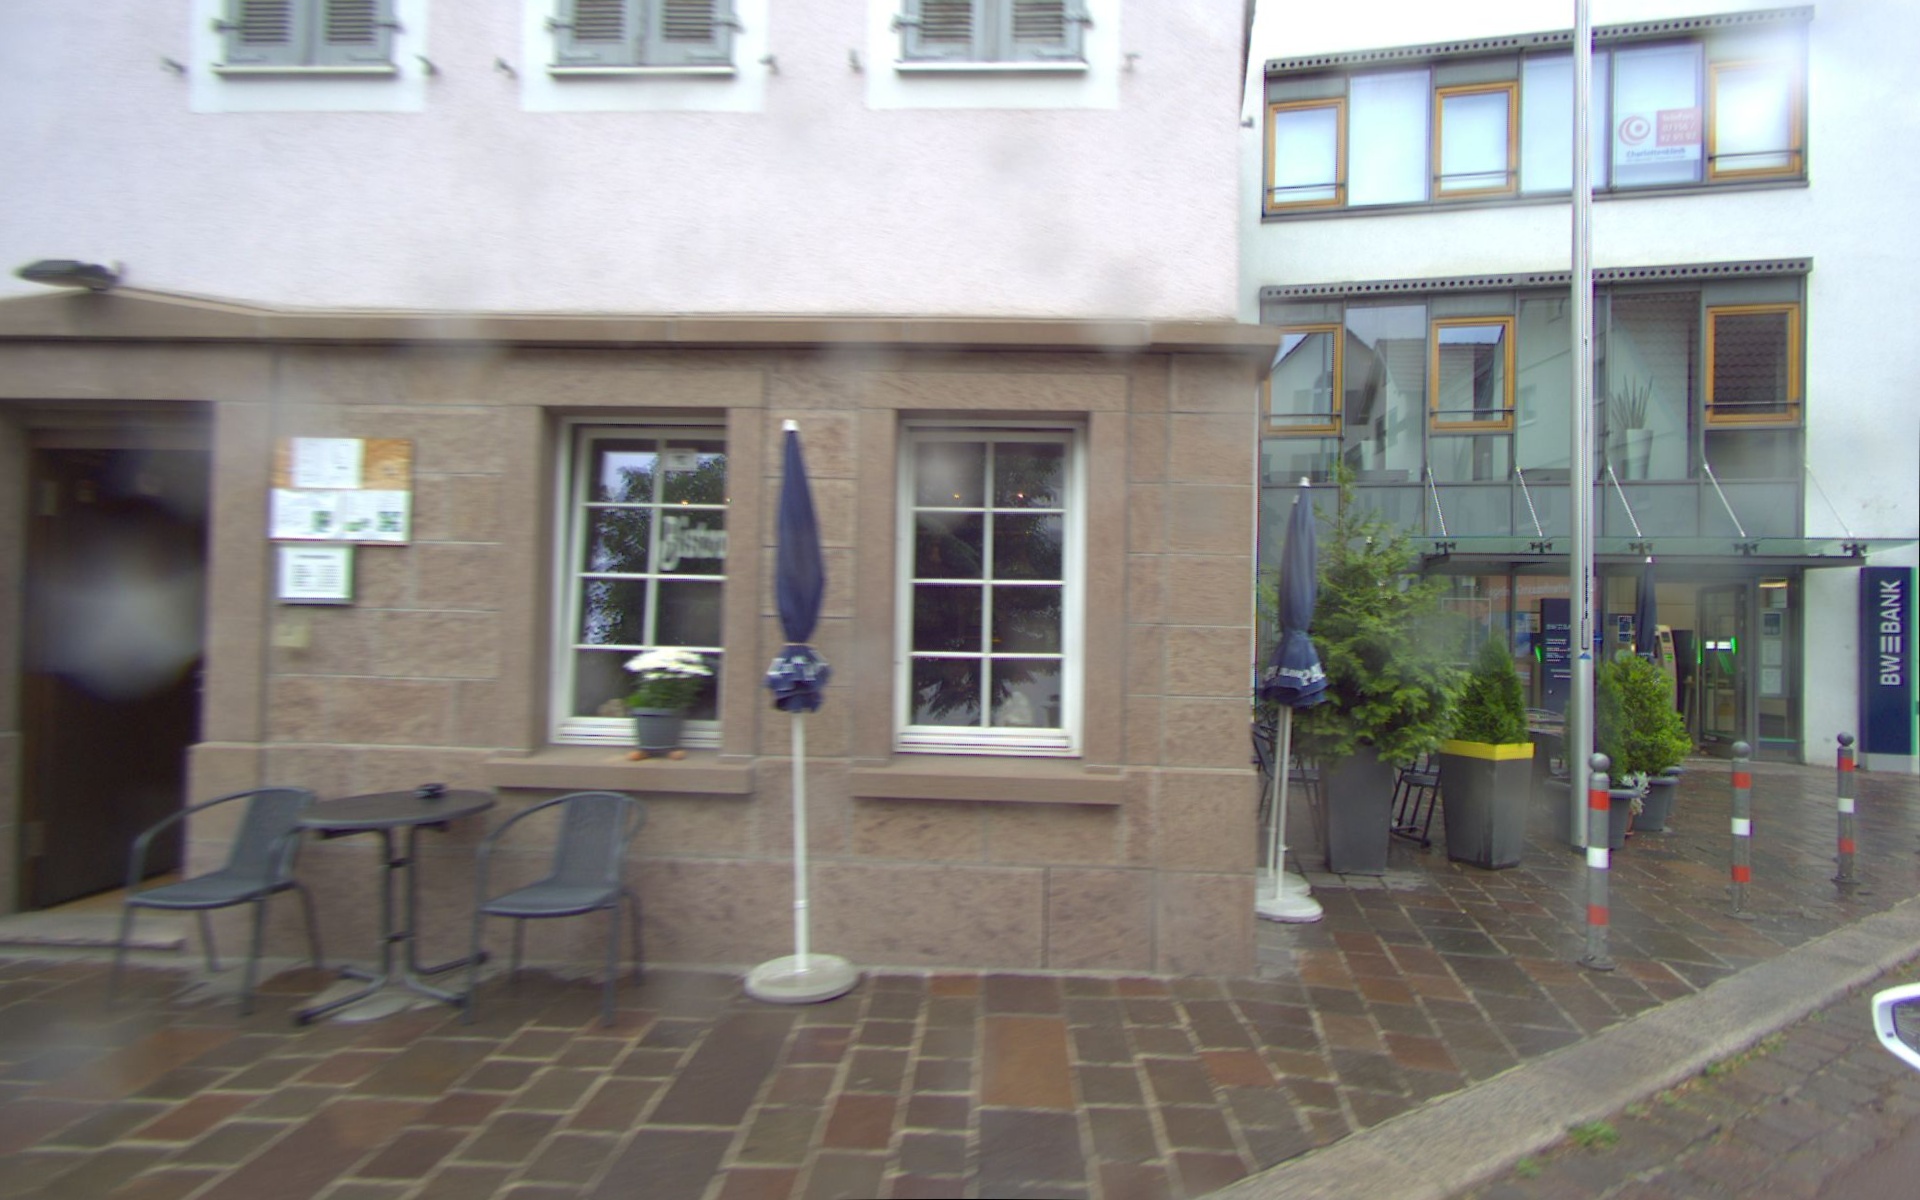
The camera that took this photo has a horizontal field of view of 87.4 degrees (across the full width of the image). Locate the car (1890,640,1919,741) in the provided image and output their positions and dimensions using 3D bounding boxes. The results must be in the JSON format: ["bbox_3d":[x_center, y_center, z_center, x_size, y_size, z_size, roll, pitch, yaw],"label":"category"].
[{"bbox_3d":[16.867,1.532,15.513,1.960,1.698,4.003,2,-1,14],"label":"car"}]
